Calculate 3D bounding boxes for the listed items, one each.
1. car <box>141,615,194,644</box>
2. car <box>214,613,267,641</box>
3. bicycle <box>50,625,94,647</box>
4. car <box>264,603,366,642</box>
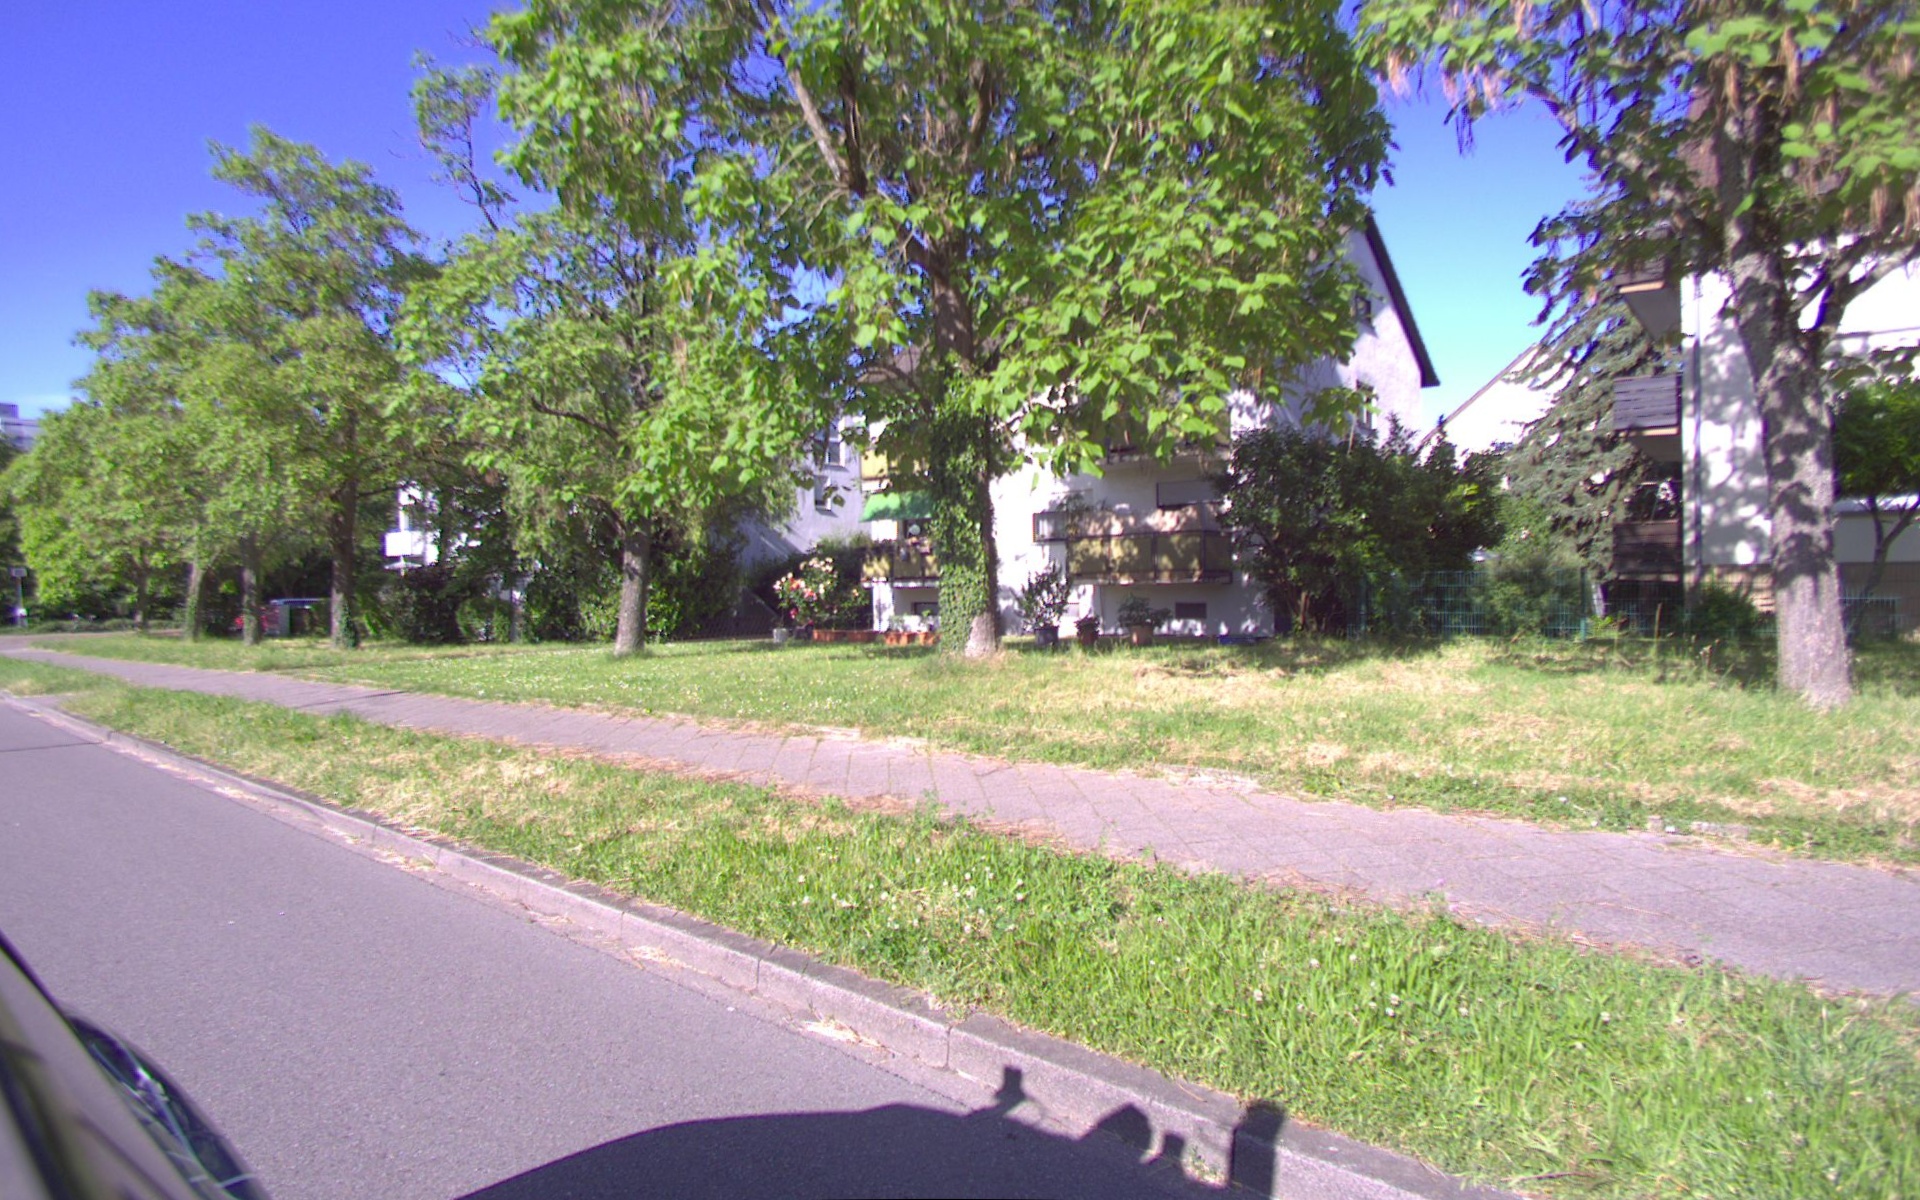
[{"bbox_3d":[-46.484,1.685,59.336,3.882,1.498,1.653,1,2,40],"label":"car"},{"bbox_3d":[-43.243,1.582,60.794,3.882,1.498,1.653,1,2,40],"label":"car"},{"bbox_3d":[-51.472,2.067,58.687,1.875,1.160,0.762,-1,4,-40],"label":"bicycle"},{"bbox_3d":[-35.702,1.236,56.106,2.069,1.984,4.402,-3,-1,43],"label":"car"}]
